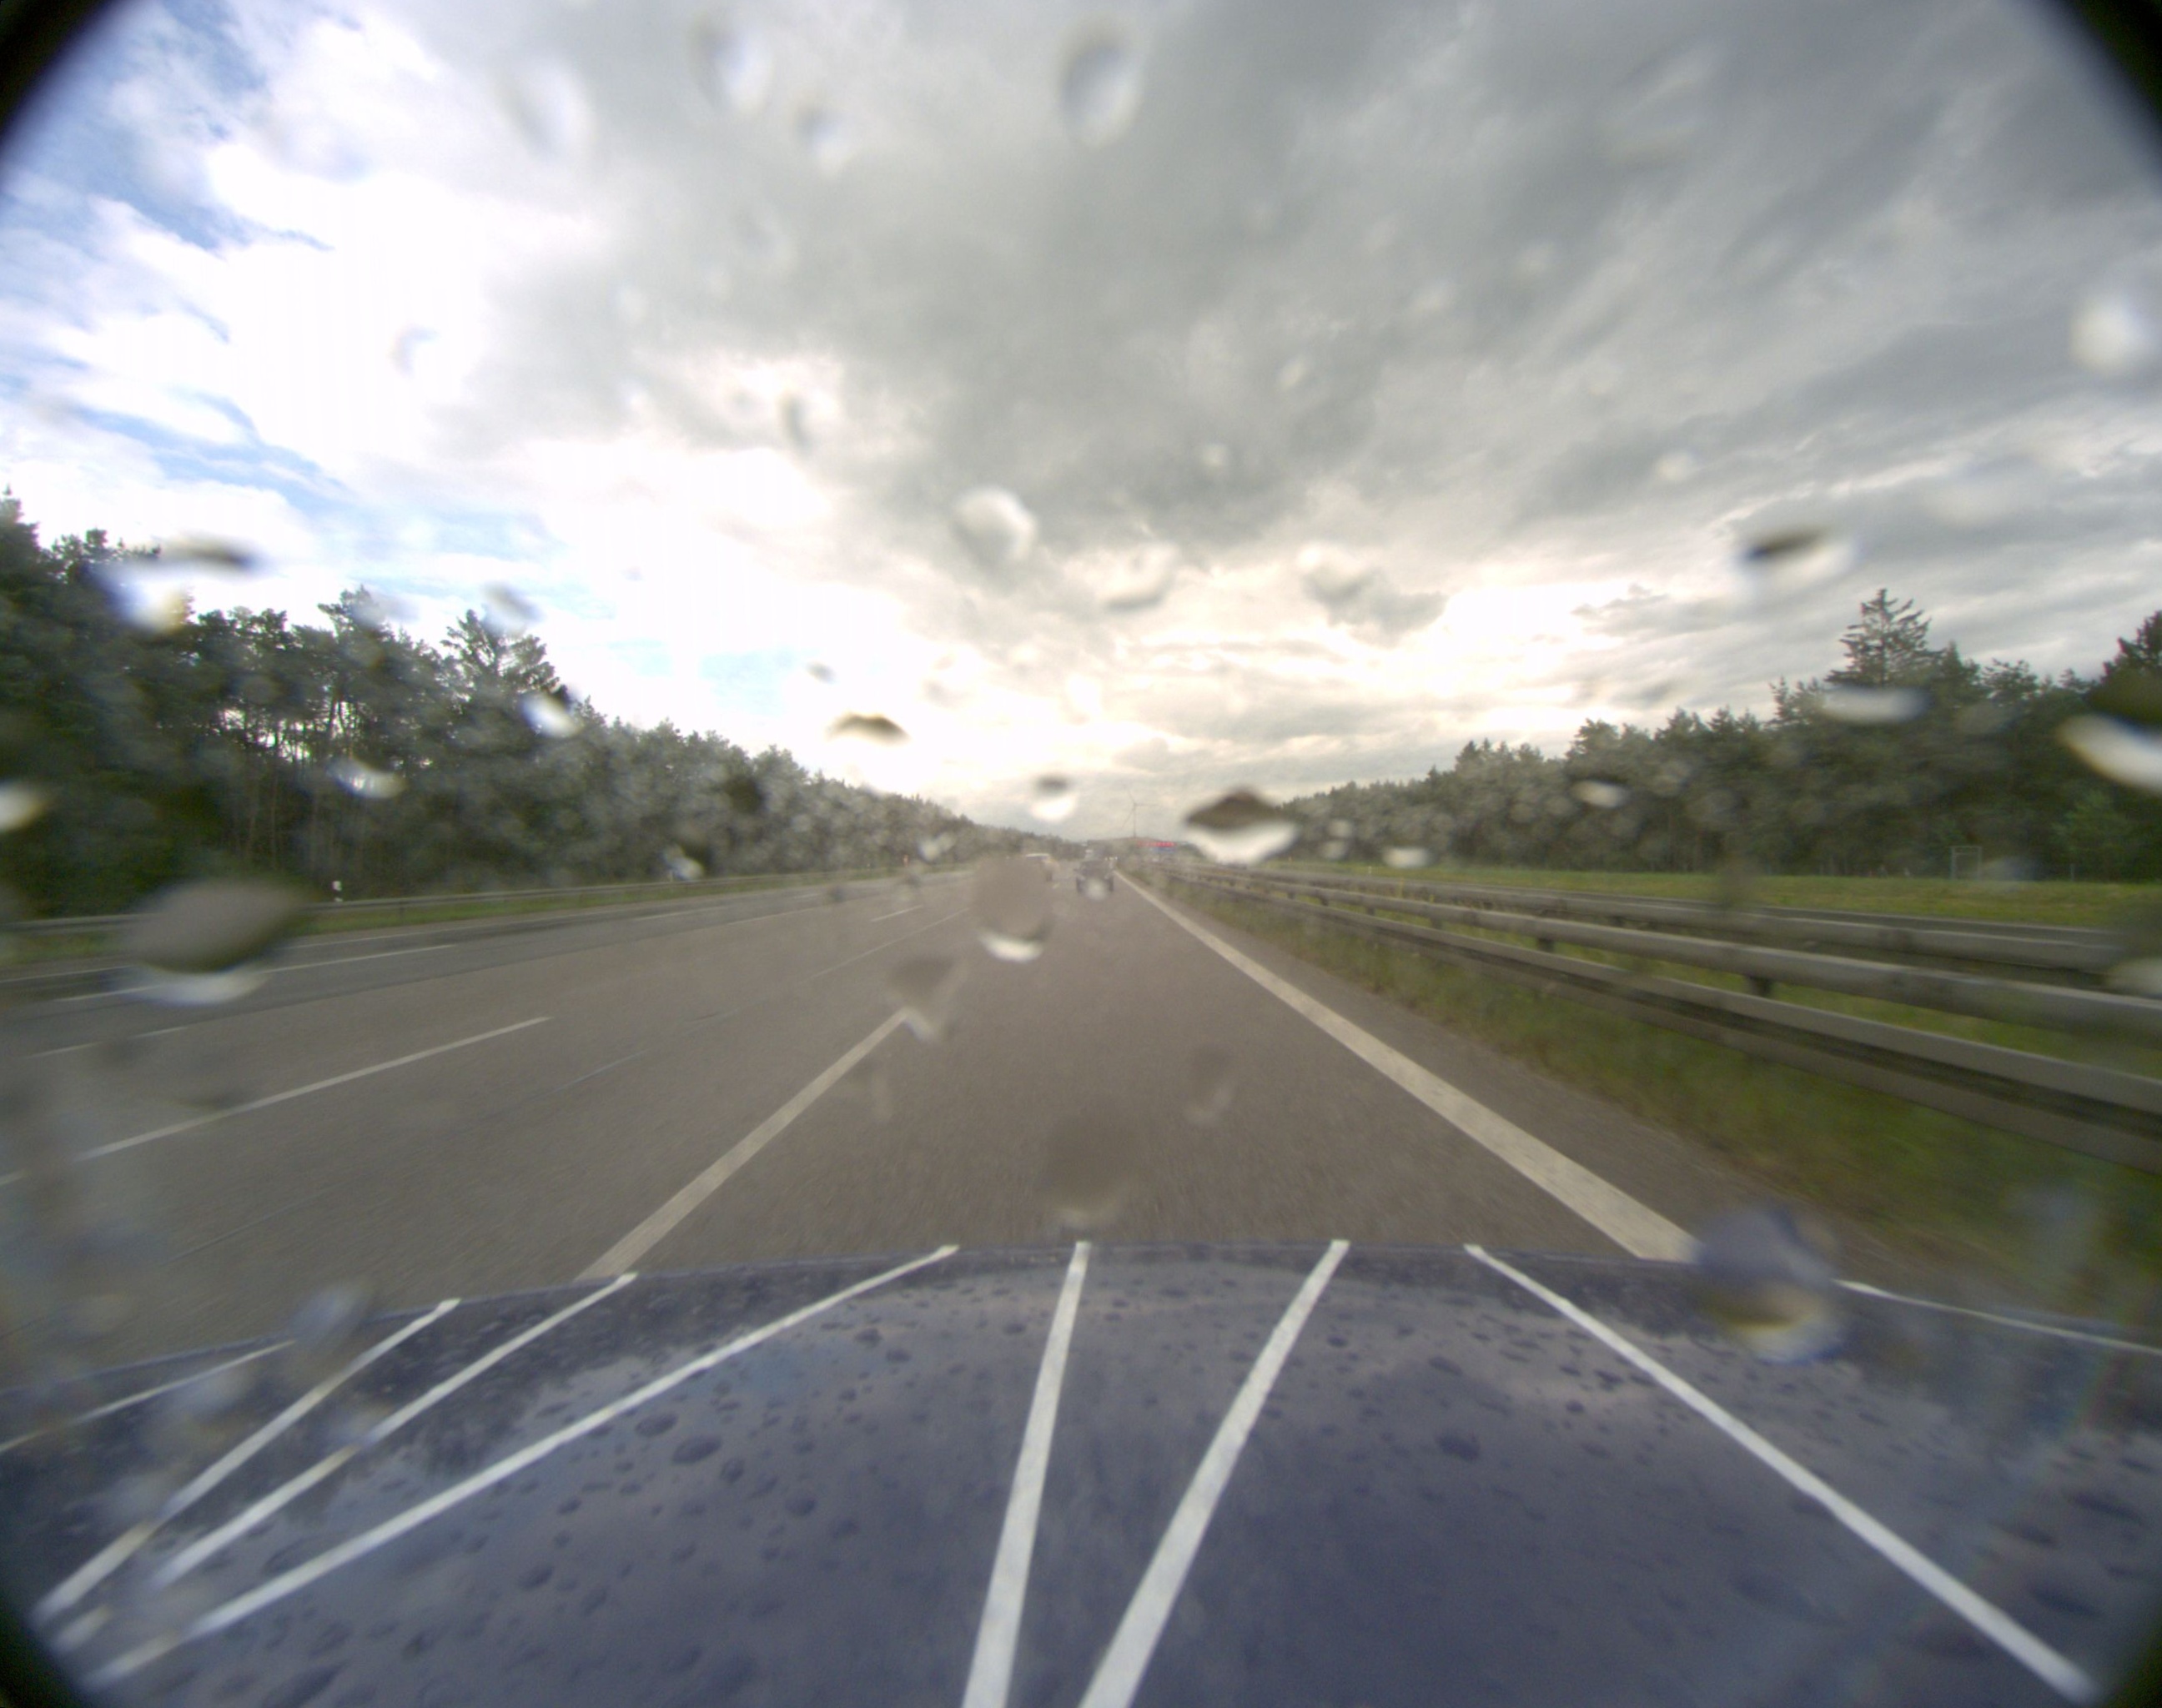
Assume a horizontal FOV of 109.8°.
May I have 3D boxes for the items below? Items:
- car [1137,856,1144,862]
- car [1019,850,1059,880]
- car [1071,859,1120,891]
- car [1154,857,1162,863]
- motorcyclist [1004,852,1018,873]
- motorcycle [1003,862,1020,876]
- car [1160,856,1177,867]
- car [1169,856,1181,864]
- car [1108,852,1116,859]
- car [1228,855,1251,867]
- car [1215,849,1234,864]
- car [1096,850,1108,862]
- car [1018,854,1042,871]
[{"bbox_3d":[15.090,1.361,192.675,1.775,1.530,4.000,0,0,2],"label":"car"},{"bbox_3d":[-2.741,0.692,50.522,1.968,1.890,4.883,-1,0,5],"label":"car"},{"bbox_3d":[0.727,0.917,34.847,1.809,1.321,4.433,-1,0,6],"label":"car"},{"bbox_3d":[20.183,1.594,199.801,1.702,1.479,4.000,0,0,2],"label":"car"},{"bbox_3d":[-5.496,0.685,59.679,0.893,1.605,0.959,-1,0,4],"label":"motorcyclist"},{"bbox_3d":[-5.470,1.162,59.859,1.002,1.025,2.174,-1,0,5],"label":"motorcycle"},{"bbox_3d":[11.899,0.967,103.778,1.879,1.423,3.999,0,0,0],"label":"car"},{"bbox_3d":[17.218,1.059,139.703,1.702,1.317,4.668,1,0,2],"label":"car"},{"bbox_3d":[9.845,0.421,242.751,2.179,2.002,4.362,-2,0,1],"label":"car"},{"bbox_3d":[19.134,0.818,92.056,1.879,1.463,3.999,1,0,0],"label":"car"},{"bbox_3d":[24.369,0.403,128.904,2.103,2.496,6.584,1,0,2],"label":"car"},{"bbox_3d":[3.617,0.301,132.236,1.998,2.002,4.000,-2,0,0],"label":"car"},{"bbox_3d":[-6.282,1.071,94.056,1.997,2.001,5.486,-2,0,7],"label":"car"}]
